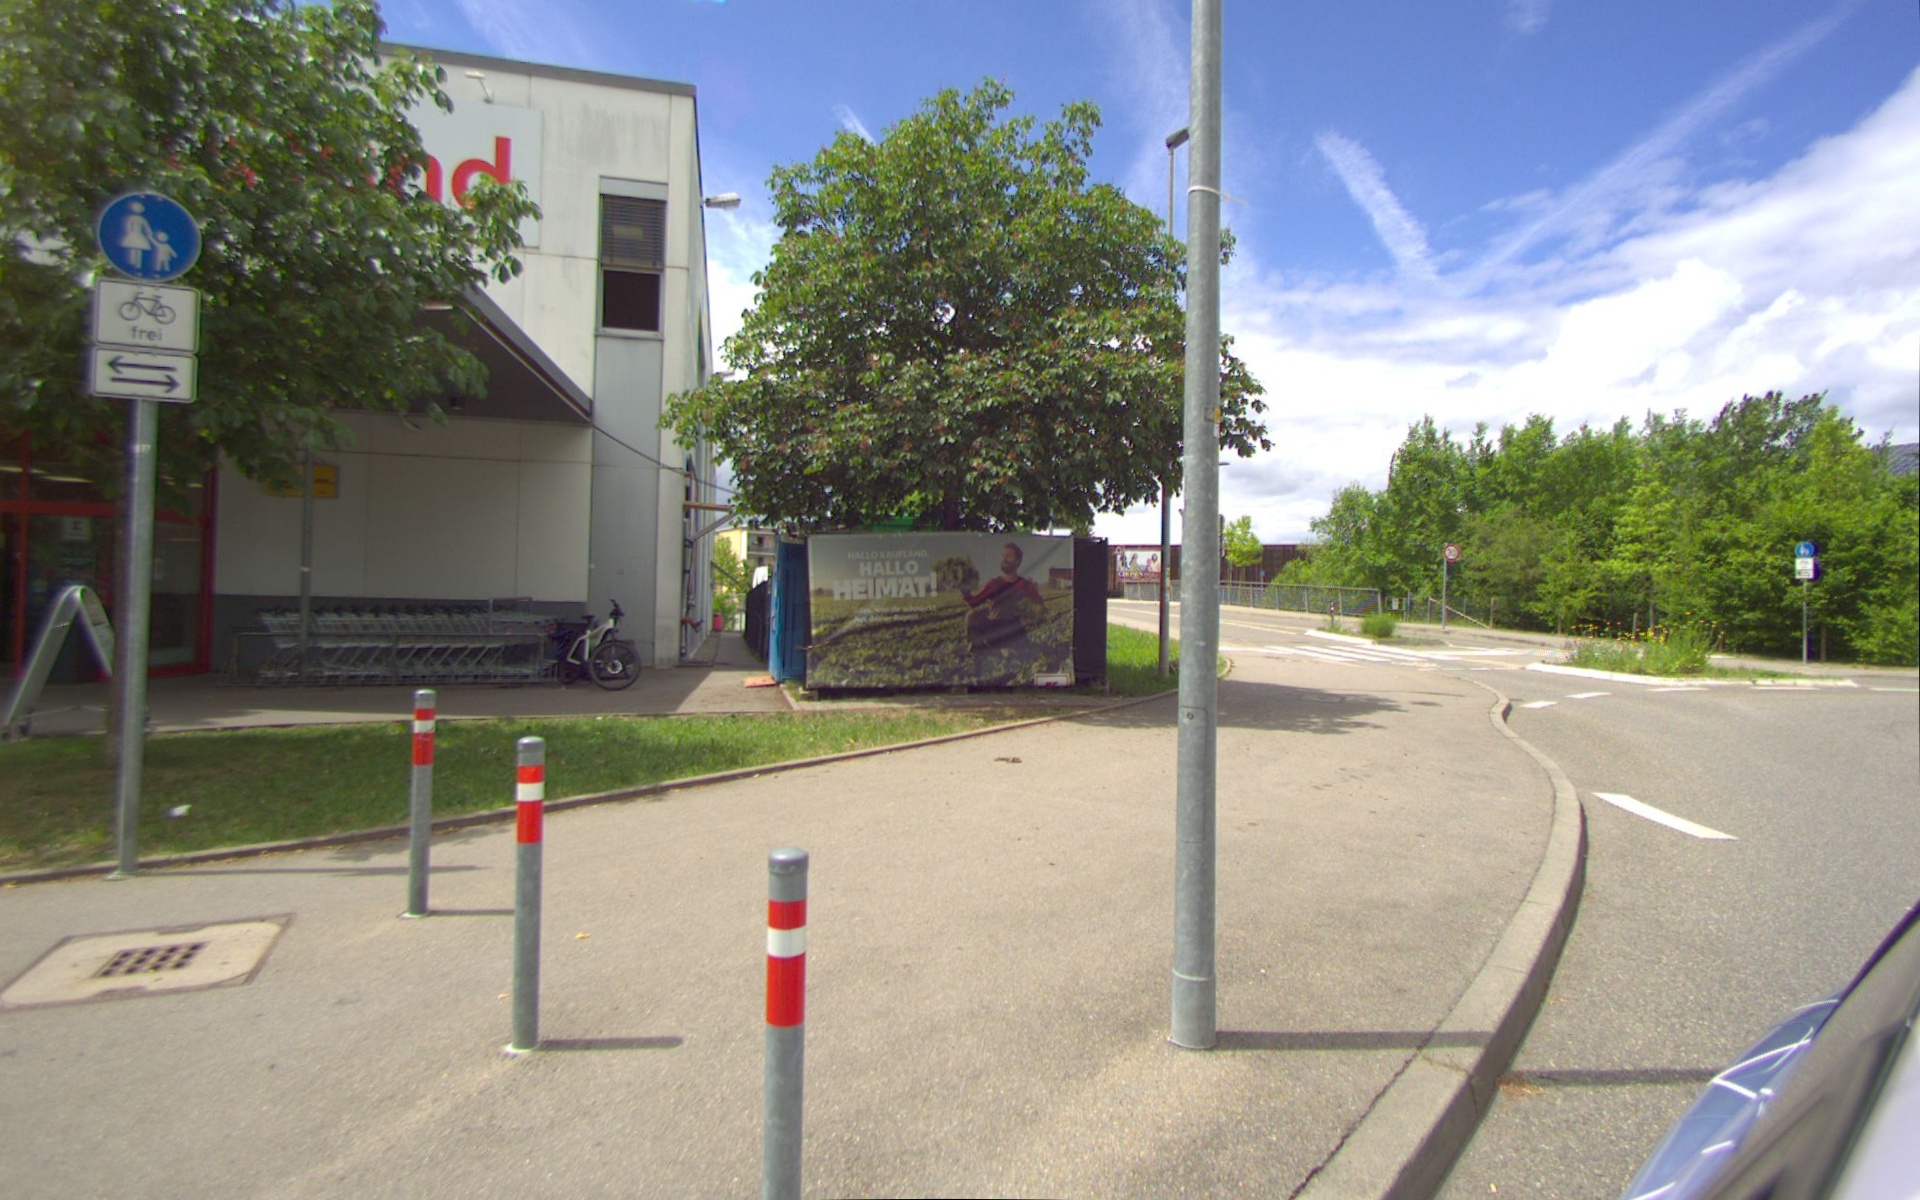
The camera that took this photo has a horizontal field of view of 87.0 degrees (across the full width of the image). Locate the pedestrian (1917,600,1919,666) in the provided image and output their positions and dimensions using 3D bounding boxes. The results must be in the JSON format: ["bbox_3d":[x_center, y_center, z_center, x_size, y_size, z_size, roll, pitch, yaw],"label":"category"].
[{"bbox_3d":[23.108,0.776,23.719,0.944,1.553,0.458,1,-1,-5],"label":"pedestrian"}]

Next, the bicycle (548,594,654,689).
[{"bbox_3d":[-5.064,0.553,14.204,1.767,1.250,0.703,-1,-1,45],"label":"bicycle"}]
